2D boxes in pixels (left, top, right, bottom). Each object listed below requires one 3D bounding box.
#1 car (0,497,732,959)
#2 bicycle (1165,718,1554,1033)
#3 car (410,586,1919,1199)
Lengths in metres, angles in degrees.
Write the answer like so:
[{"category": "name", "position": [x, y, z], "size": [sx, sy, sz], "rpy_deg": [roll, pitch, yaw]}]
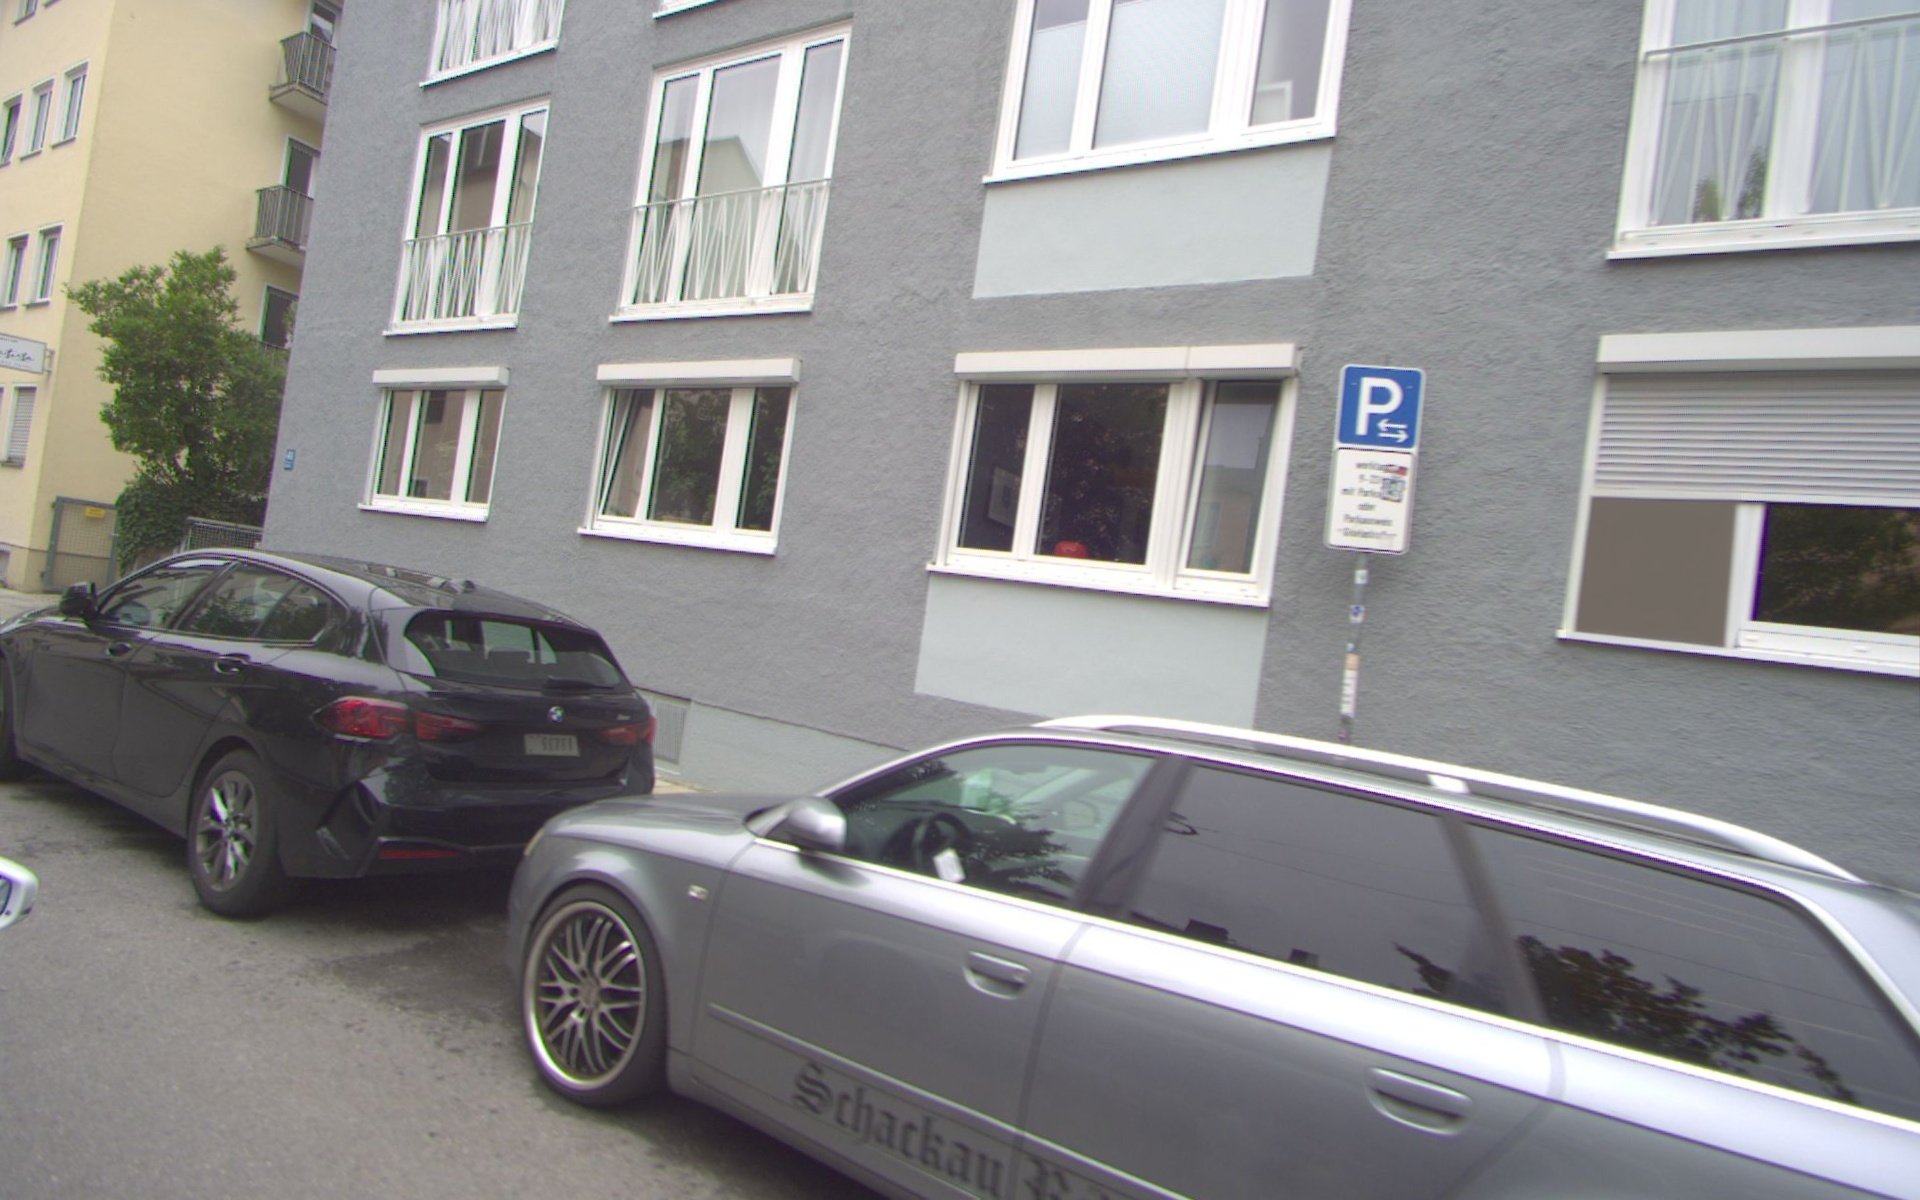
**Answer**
[{"category": "car", "position": [-3.531, 0.474, 5.412], "size": [4.191, 1.442, 1.849], "rpy_deg": [7, -5, 30]}, {"category": "bicycle", "position": [1.947, 1.287, 5.041], "size": [1.658, 1.123, 0.378], "rpy_deg": [7, -1, 32]}, {"category": "car", "position": [0.557, 1.019, 2.988], "size": [4.412, 1.414, 1.796], "rpy_deg": [7, -6, 33]}]
